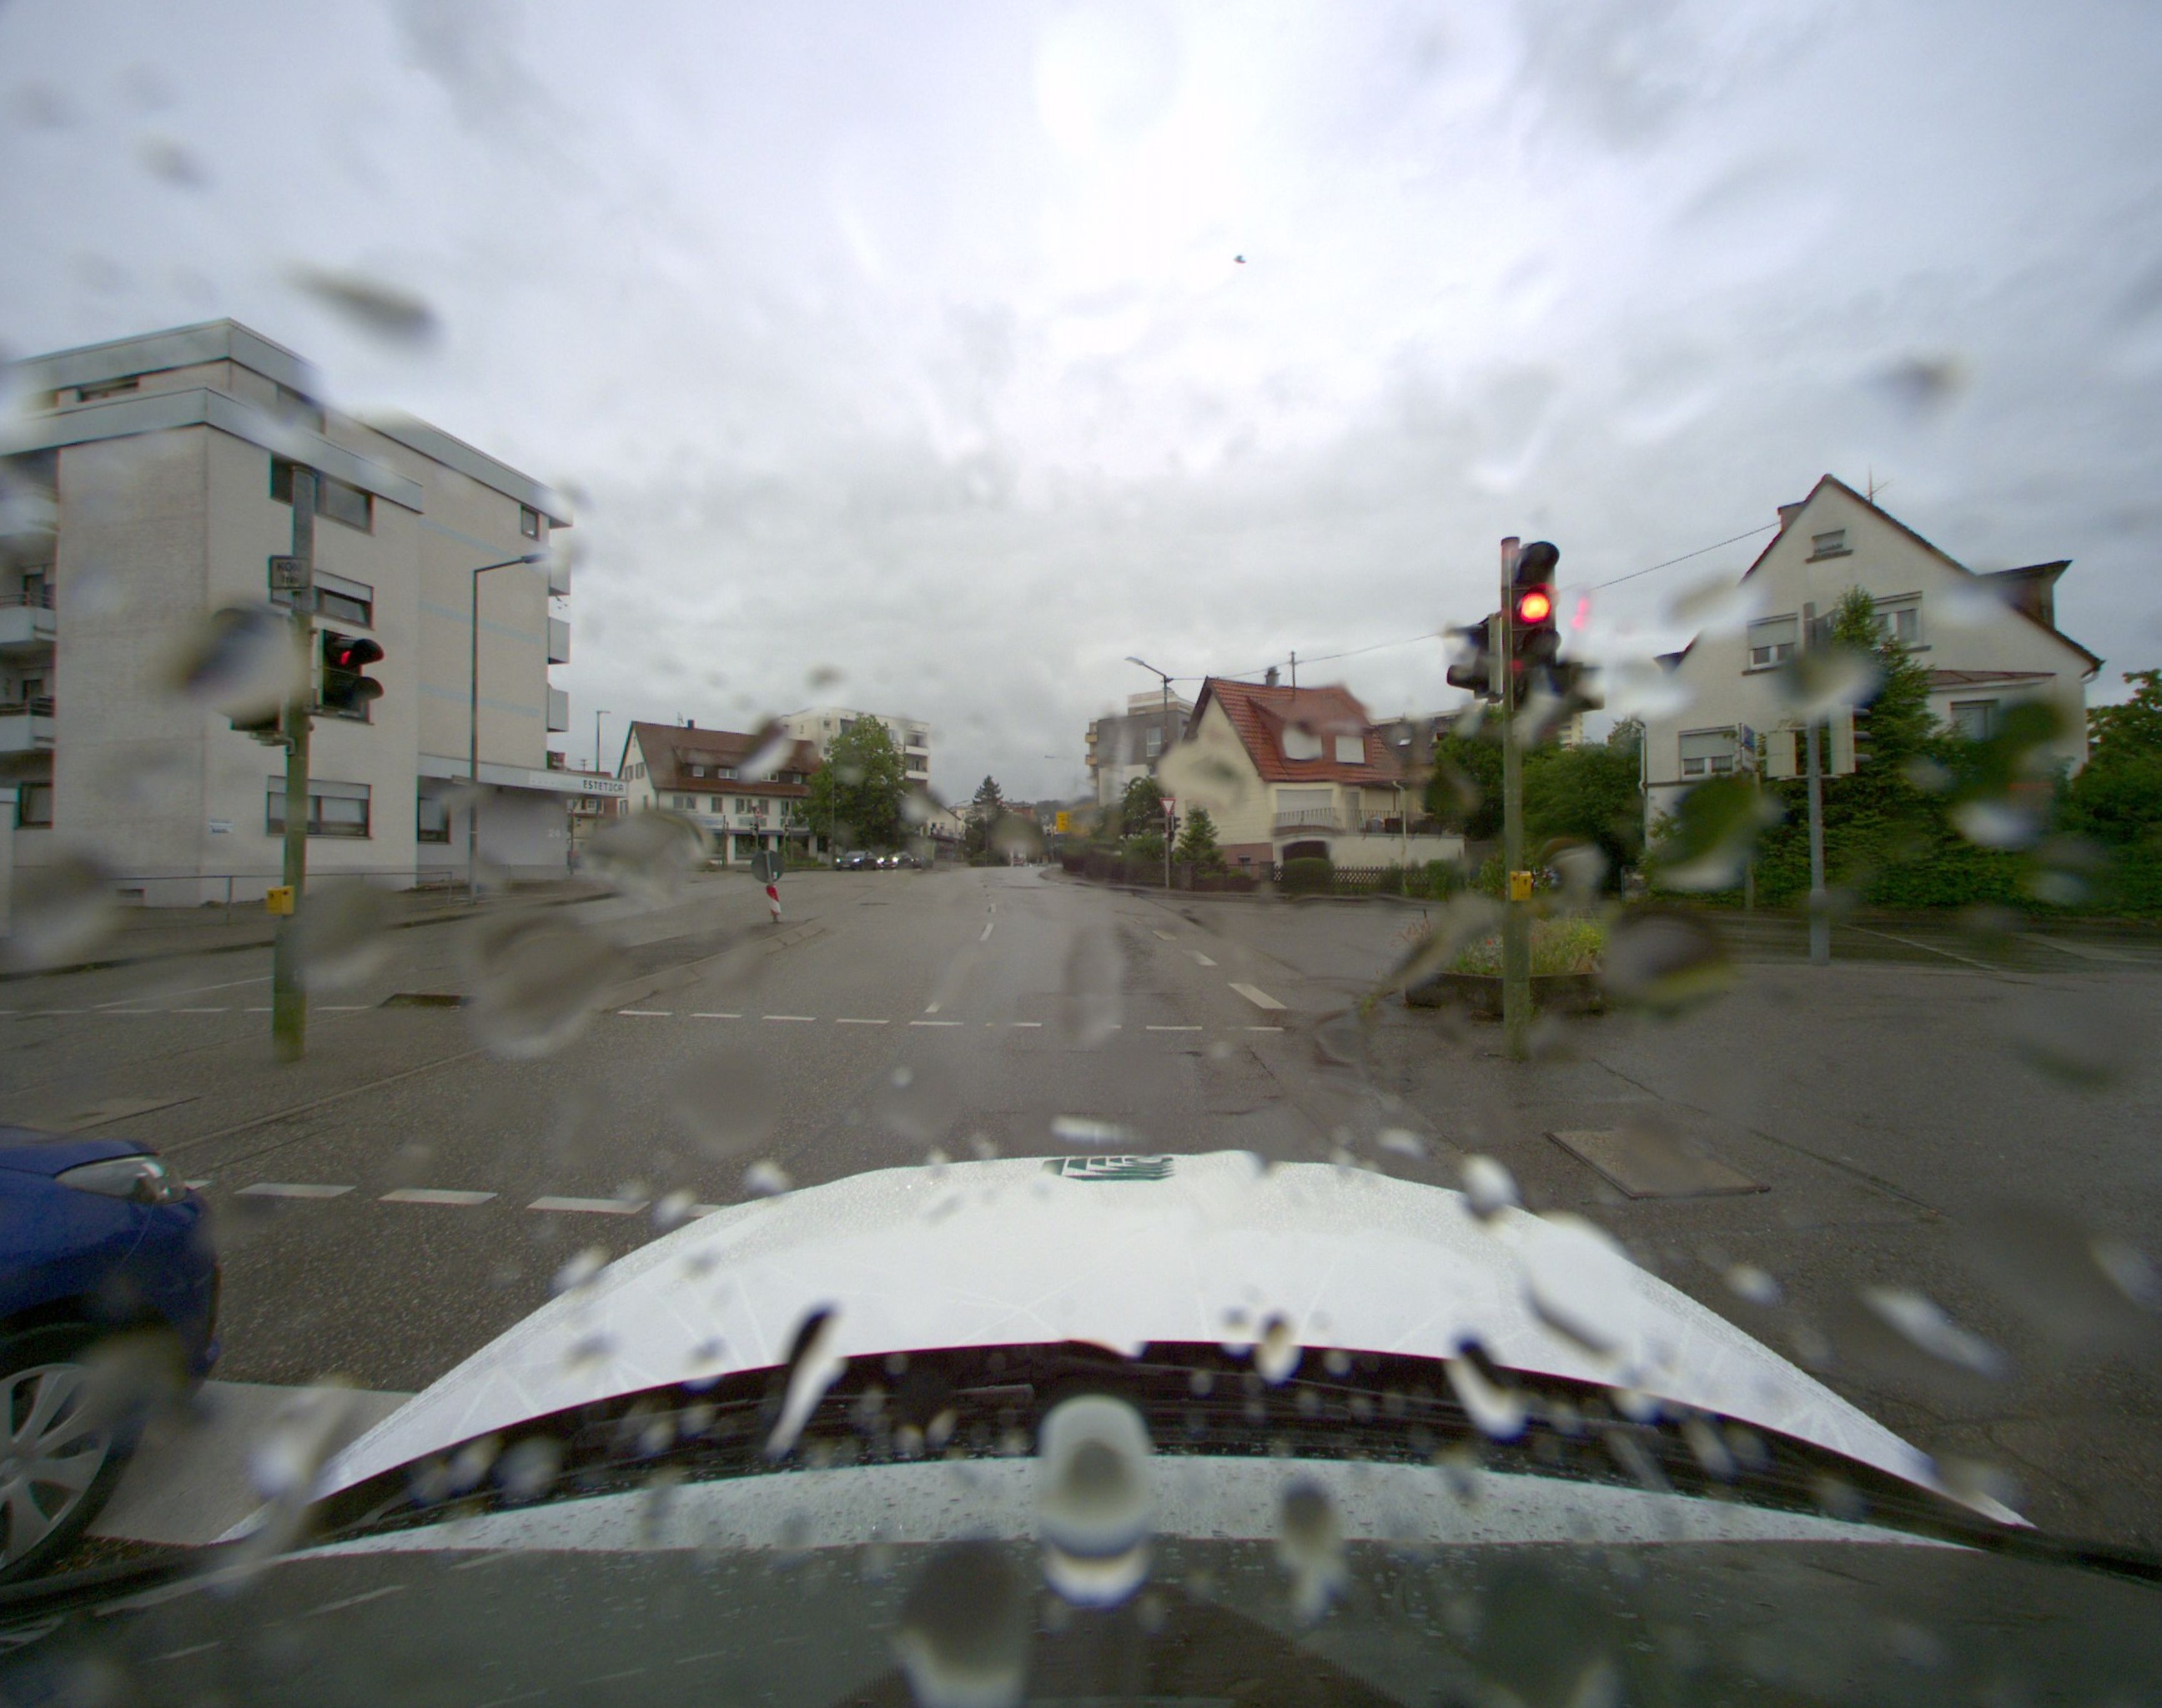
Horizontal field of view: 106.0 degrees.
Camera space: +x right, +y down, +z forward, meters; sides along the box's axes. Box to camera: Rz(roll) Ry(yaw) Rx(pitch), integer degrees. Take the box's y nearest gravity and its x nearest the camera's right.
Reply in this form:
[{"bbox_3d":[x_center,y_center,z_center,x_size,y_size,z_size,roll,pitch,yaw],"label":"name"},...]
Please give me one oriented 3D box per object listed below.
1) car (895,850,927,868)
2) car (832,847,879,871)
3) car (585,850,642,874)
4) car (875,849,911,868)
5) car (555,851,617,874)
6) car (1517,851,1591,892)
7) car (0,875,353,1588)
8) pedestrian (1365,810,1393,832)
[{"bbox_3d":[-14.971,0.442,71.809,1.873,1.597,4.184,0,-1,0],"label":"car"},{"bbox_3d":[-15.908,0.354,57.712,1.987,1.625,4.538,0,-1,0],"label":"car"},{"bbox_3d":[-38.453,0.629,66.993,3.706,1.920,1.864,0,-1,-44],"label":"car"},{"bbox_3d":[-15.281,0.344,66.313,1.960,1.512,3.999,0,-1,0],"label":"car"},{"bbox_3d":[-41.227,0.667,67.816,4.093,1.843,1.864,0,-1,-44],"label":"car"},{"bbox_3d":[17.101,0.606,29.387,1.794,1.362,4.025,-1,-1,37],"label":"car"},{"bbox_3d":[-2.961,0.782,0.741,1.499,1.413,3.365,0,0,2],"label":"car"},{"bbox_3d":[12.761,-1.425,34.872,0.918,0.883,0.632,0,-3,-18],"label":"pedestrian"}]
